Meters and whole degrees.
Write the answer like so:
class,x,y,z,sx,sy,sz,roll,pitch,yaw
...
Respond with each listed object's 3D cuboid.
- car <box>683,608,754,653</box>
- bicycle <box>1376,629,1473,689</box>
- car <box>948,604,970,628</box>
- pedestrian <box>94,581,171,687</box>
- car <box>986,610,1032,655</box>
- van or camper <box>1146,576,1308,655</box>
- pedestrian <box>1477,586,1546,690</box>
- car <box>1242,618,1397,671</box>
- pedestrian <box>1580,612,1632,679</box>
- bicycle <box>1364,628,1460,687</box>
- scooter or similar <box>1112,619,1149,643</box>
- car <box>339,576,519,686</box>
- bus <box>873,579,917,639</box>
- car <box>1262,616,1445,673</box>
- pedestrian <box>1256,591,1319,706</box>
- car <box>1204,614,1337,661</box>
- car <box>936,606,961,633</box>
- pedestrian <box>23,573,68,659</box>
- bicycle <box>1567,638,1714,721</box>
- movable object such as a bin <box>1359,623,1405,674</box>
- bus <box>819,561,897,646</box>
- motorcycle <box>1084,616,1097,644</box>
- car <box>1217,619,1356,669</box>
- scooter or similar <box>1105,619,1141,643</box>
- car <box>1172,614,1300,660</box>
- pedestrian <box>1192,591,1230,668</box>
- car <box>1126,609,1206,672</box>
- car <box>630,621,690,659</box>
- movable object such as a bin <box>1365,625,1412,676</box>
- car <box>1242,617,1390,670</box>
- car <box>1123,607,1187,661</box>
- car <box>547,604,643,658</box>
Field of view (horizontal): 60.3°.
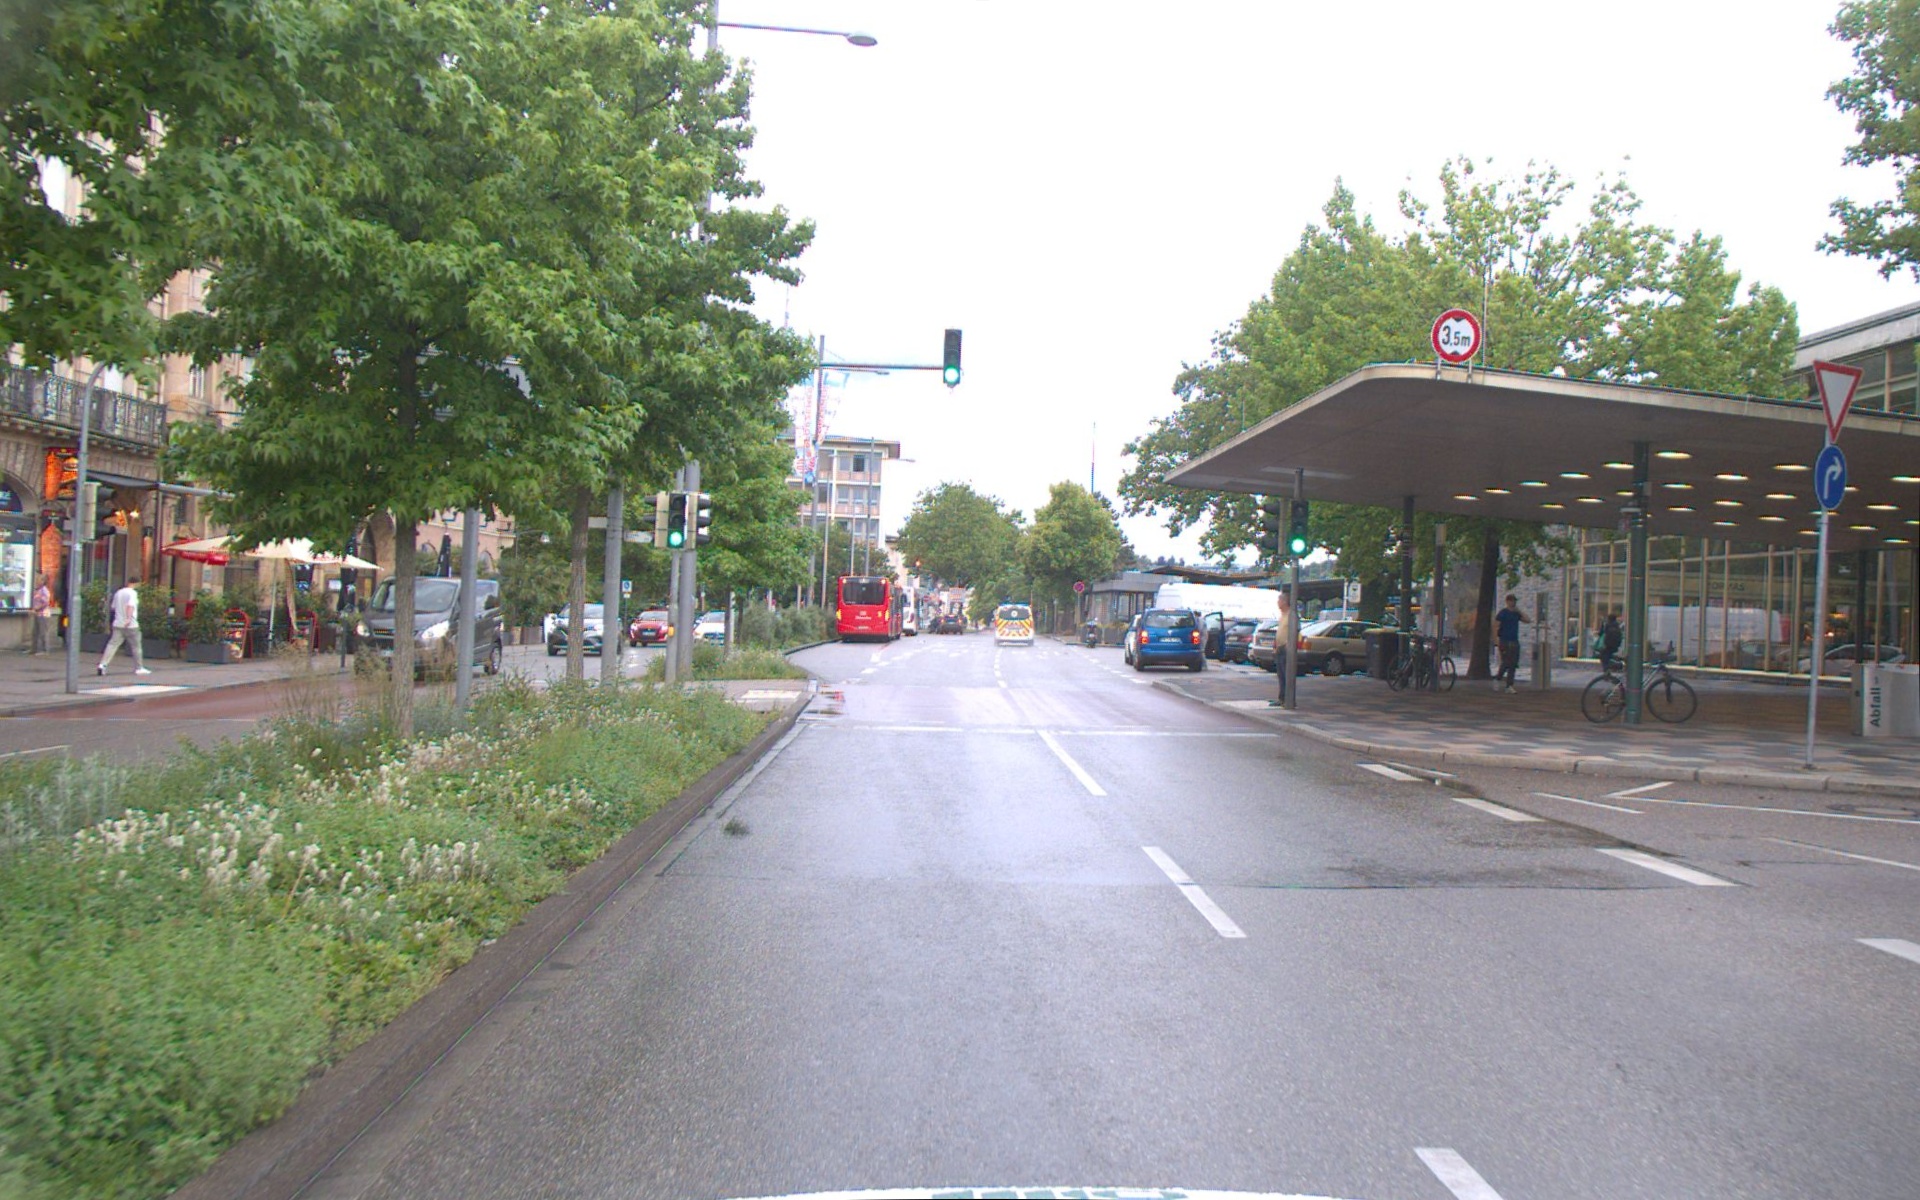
class,x,y,z,sx,sy,sz,roll,pitch,yaw
car,-8.771,1.095,60.481,1.953,1.570,4.632,-1,-1,-1
bicycle,8.521,1.074,30.324,1.800,1.074,0.418,0,-1,-19
car,-0.121,1.407,147.205,1.953,2.049,3.999,-1,-1,-1
pedestrian,-15.085,0.614,30.168,0.862,1.844,0.750,-5,-1,-1
car,2.341,1.542,79.489,1.953,2.049,5.060,0,-1,-1
van or camper,9.955,0.562,61.610,5.879,2.811,2.178,0,-1,-28
pedestrian,10.117,0.693,30.384,0.839,1.867,1.189,0,-1,-1
car,9.748,1.194,44.799,3.947,1.383,1.845,1,-1,-32
pedestrian,15.555,1.082,39.844,0.849,1.586,0.813,0,-1,-8
bicycle,8.405,1.061,30.770,1.800,1.074,0.418,0,-1,-19
scooter or similar,8.337,1.514,80.803,2.131,1.129,0.437,0,-1,-41
car,-10.606,0.610,33.458,1.952,2.049,5.001,-1,-1,1
bus,-4.431,0.647,112.404,2.749,3.812,10.439,1,-1,-2
car,9.781,1.099,41.136,4.125,1.348,1.829,1,-1,-21
pedestrian,5.150,0.751,26.045,0.732,1.777,0.834,0,-1,-9
car,10.028,1.216,53.352,3.940,1.468,1.848,1,-1,-28
car,-0.952,1.543,131.765,1.953,2.049,3.999,-1,-1,-1
pedestrian,-18.314,0.316,33.129,0.654,1.693,0.535,0,-1,-9
bicycle,9.031,1.051,21.971,1.790,1.074,0.420,-1,-1,-1
movable object such as a bin,9.512,1.090,37.258,0.738,1.114,0.746,0,-1,-13
bus,-5.097,0.230,84.606,3.473,4.049,11.168,0,-1,-1
motorcycle,6.186,1.398,78.414,0.582,1.311,1.954,0,0,5
car,10.000,1.358,50.624,3.940,1.468,1.848,1,-1,-28
scooter or similar,7.996,1.524,81.163,2.131,1.129,0.421,0,-1,-41
car,9.275,1.244,55.537,3.940,1.468,1.848,1,-1,-28
pedestrian,6.775,0.791,44.614,0.815,2.049,0.888,0,-1,-5
car,5.459,1.065,44.172,1.820,1.596,4.001,1,-1,3
car,-11.869,1.570,65.652,1.711,1.455,3.952,-1,-1,-1
movable object such as a bin,9.385,1.095,36.254,0.737,1.086,0.747,0,-1,-10
car,10.229,1.260,47.513,3.940,1.468,1.848,1,-1,-28
car,5.878,1.029,50.138,1.750,1.549,3.683,1,-1,4
car,-11.193,0.937,51.012,1.953,1.570,4.632,-1,-1,-1
